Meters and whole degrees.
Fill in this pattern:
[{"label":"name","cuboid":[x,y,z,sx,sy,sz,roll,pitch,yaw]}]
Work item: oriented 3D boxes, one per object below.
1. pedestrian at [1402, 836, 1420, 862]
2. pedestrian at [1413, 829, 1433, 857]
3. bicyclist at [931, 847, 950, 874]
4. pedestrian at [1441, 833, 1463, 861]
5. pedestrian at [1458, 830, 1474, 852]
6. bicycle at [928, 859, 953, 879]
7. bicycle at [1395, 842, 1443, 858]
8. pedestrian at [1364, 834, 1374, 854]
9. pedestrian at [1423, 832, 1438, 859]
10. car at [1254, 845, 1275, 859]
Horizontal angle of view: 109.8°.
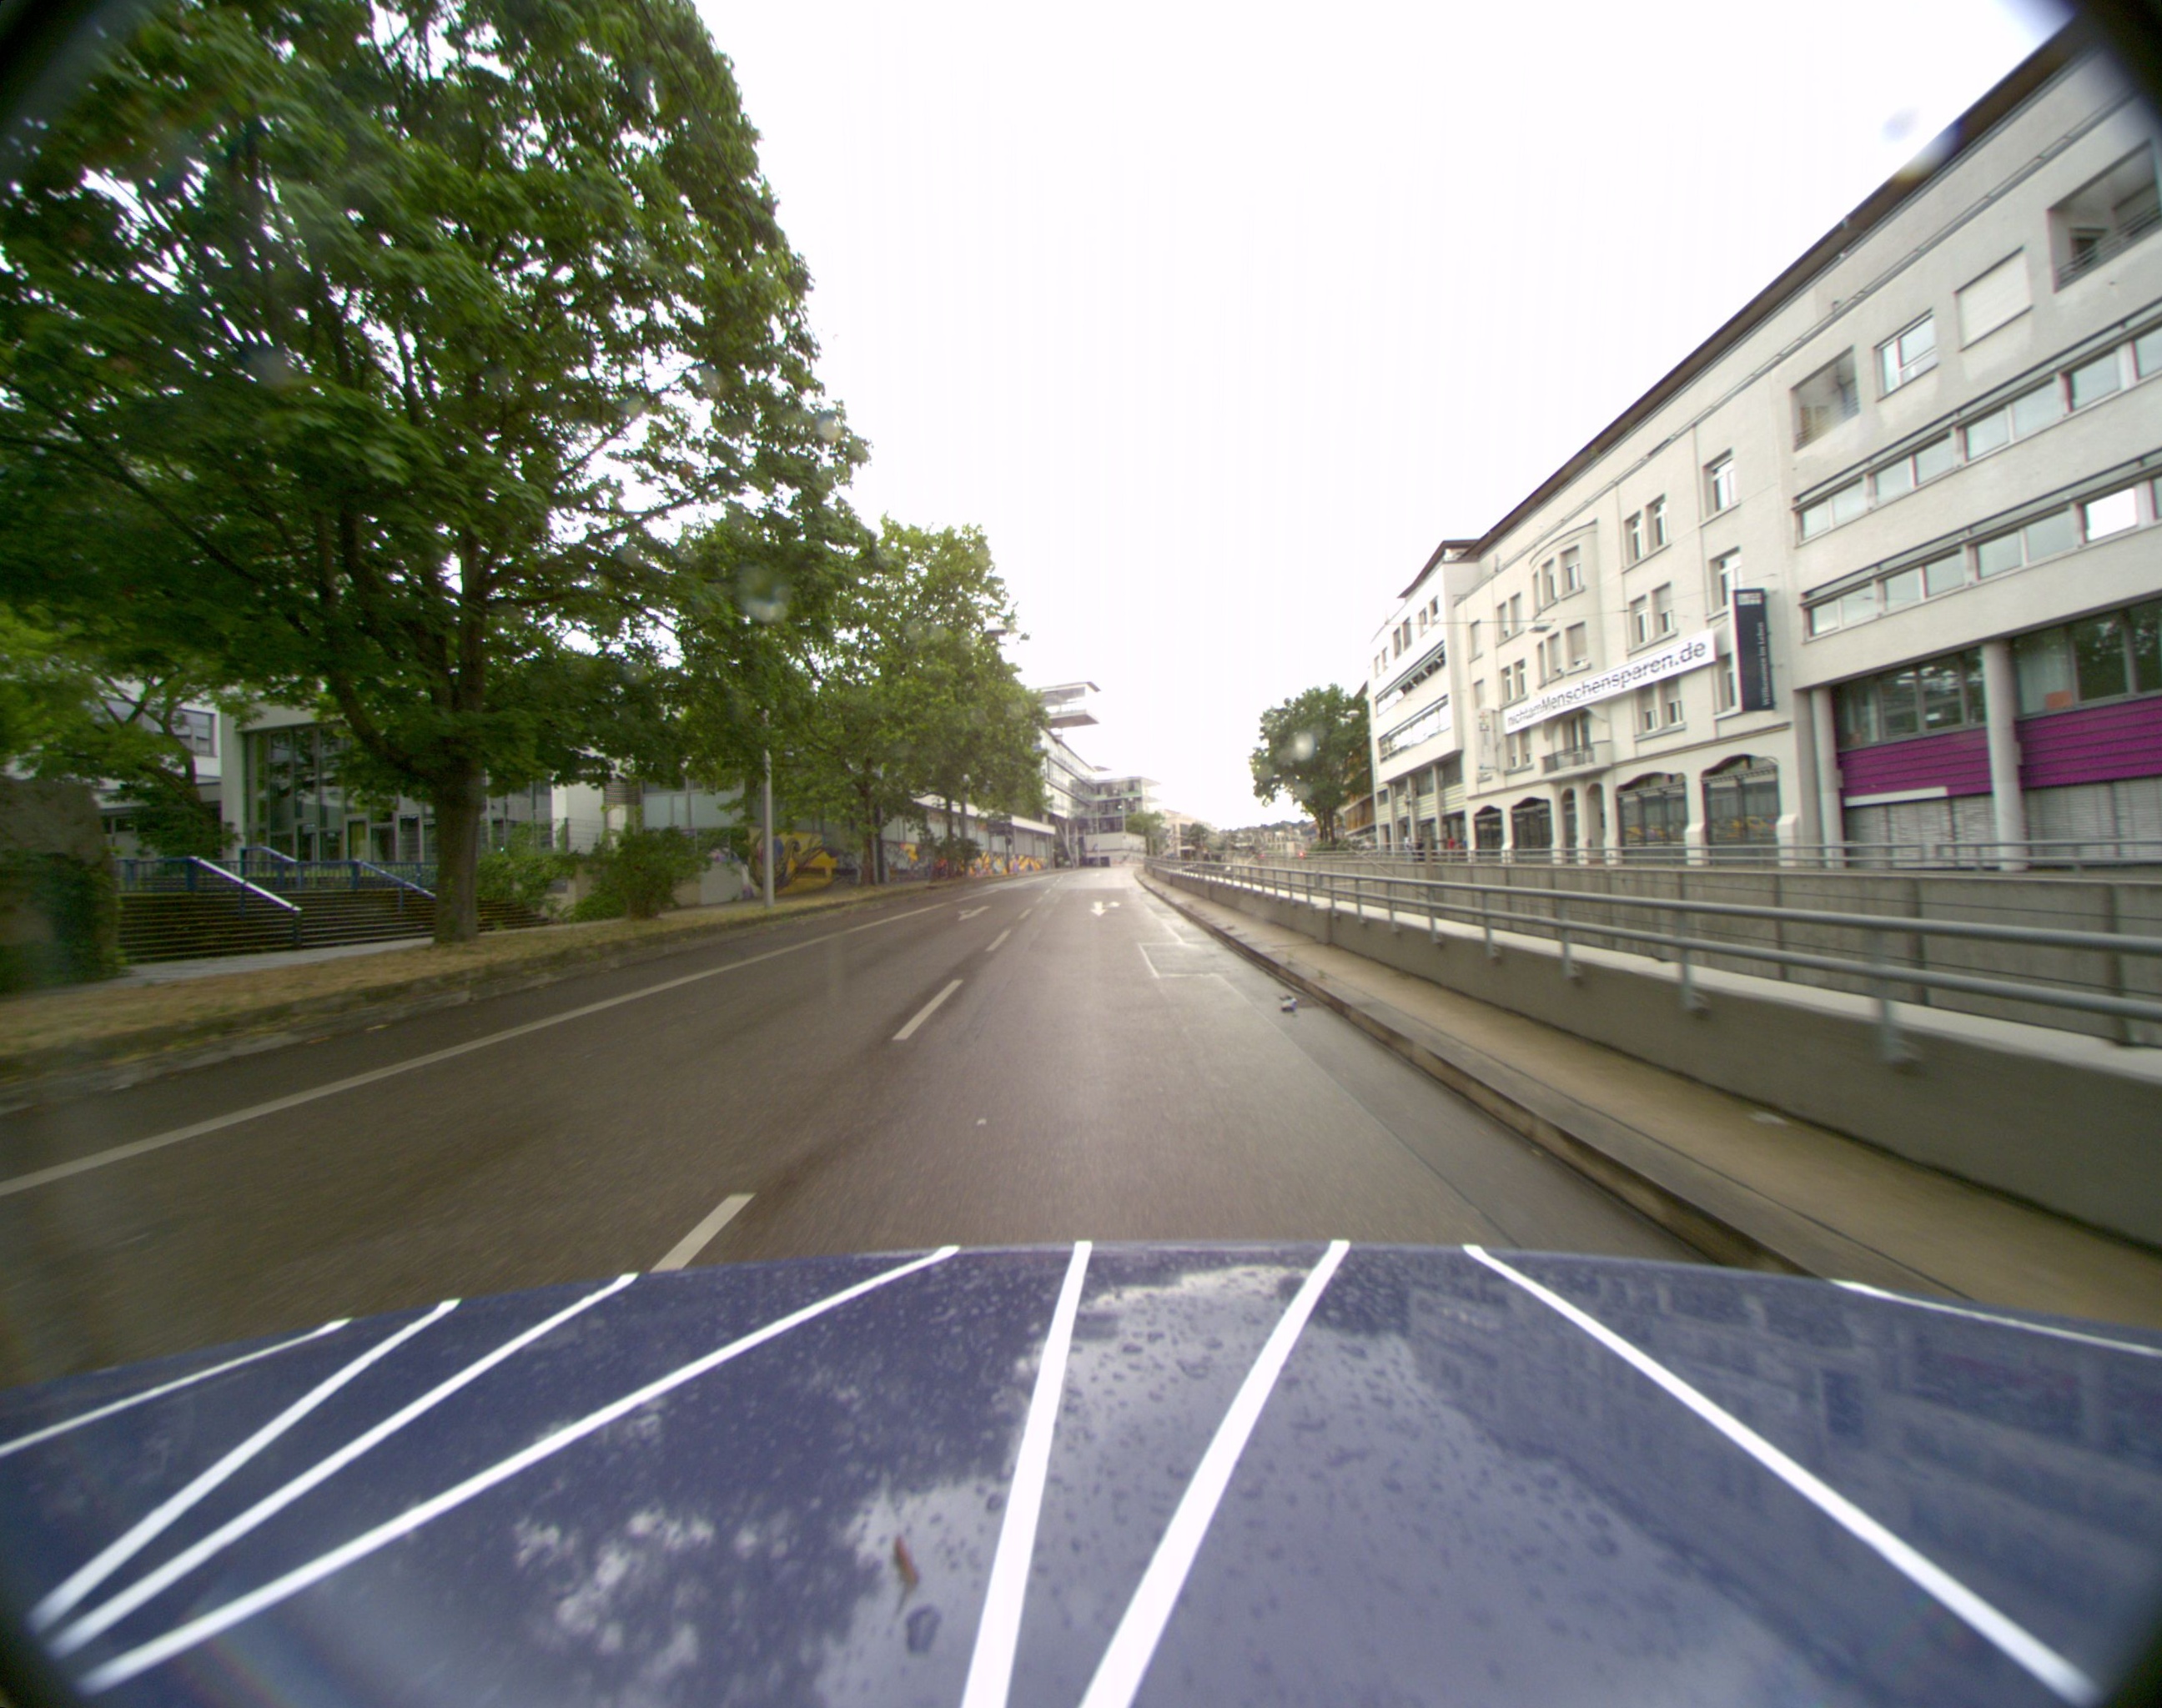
[{"label":"pedestrian","cuboid":[21.398,-0.314,49.298,0.675,1.633,0.793,-3,0,-42]},{"label":"pedestrian","cuboid":[22.491,-0.706,49.975,0.674,1.774,0.941,-3,0,-14]},{"label":"bicyclist","cuboid":[-8.800,0.417,47.600,0.808,1.618,1.047,-2,1,8]},{"label":"pedestrian","cuboid":[22.270,-0.409,45.640,0.674,1.606,0.941,-3,0,-14]},{"label":"pedestrian","cuboid":[24.534,-0.827,48.433,0.608,1.410,0.674,-3,0,6]},{"label":"bicycle","cuboid":[-8.791,0.929,47.534,0.808,1.105,2.199,-2,0,8]},{"label":"bicycle","cuboid":[24.060,-0.316,54.293,1.696,1.037,4.523,-3,1,5]},{"label":"pedestrian","cuboid":[27.051,-0.899,71.332,0.666,1.838,0.831,-1,0,10]},{"label":"pedestrian","cuboid":[22.396,-0.535,48.693,0.675,1.712,0.608,-3,0,-39]},{"label":"car","cuboid":[24.322,-0.291,100.710,1.841,1.703,4.578,-2,0,3]}]
